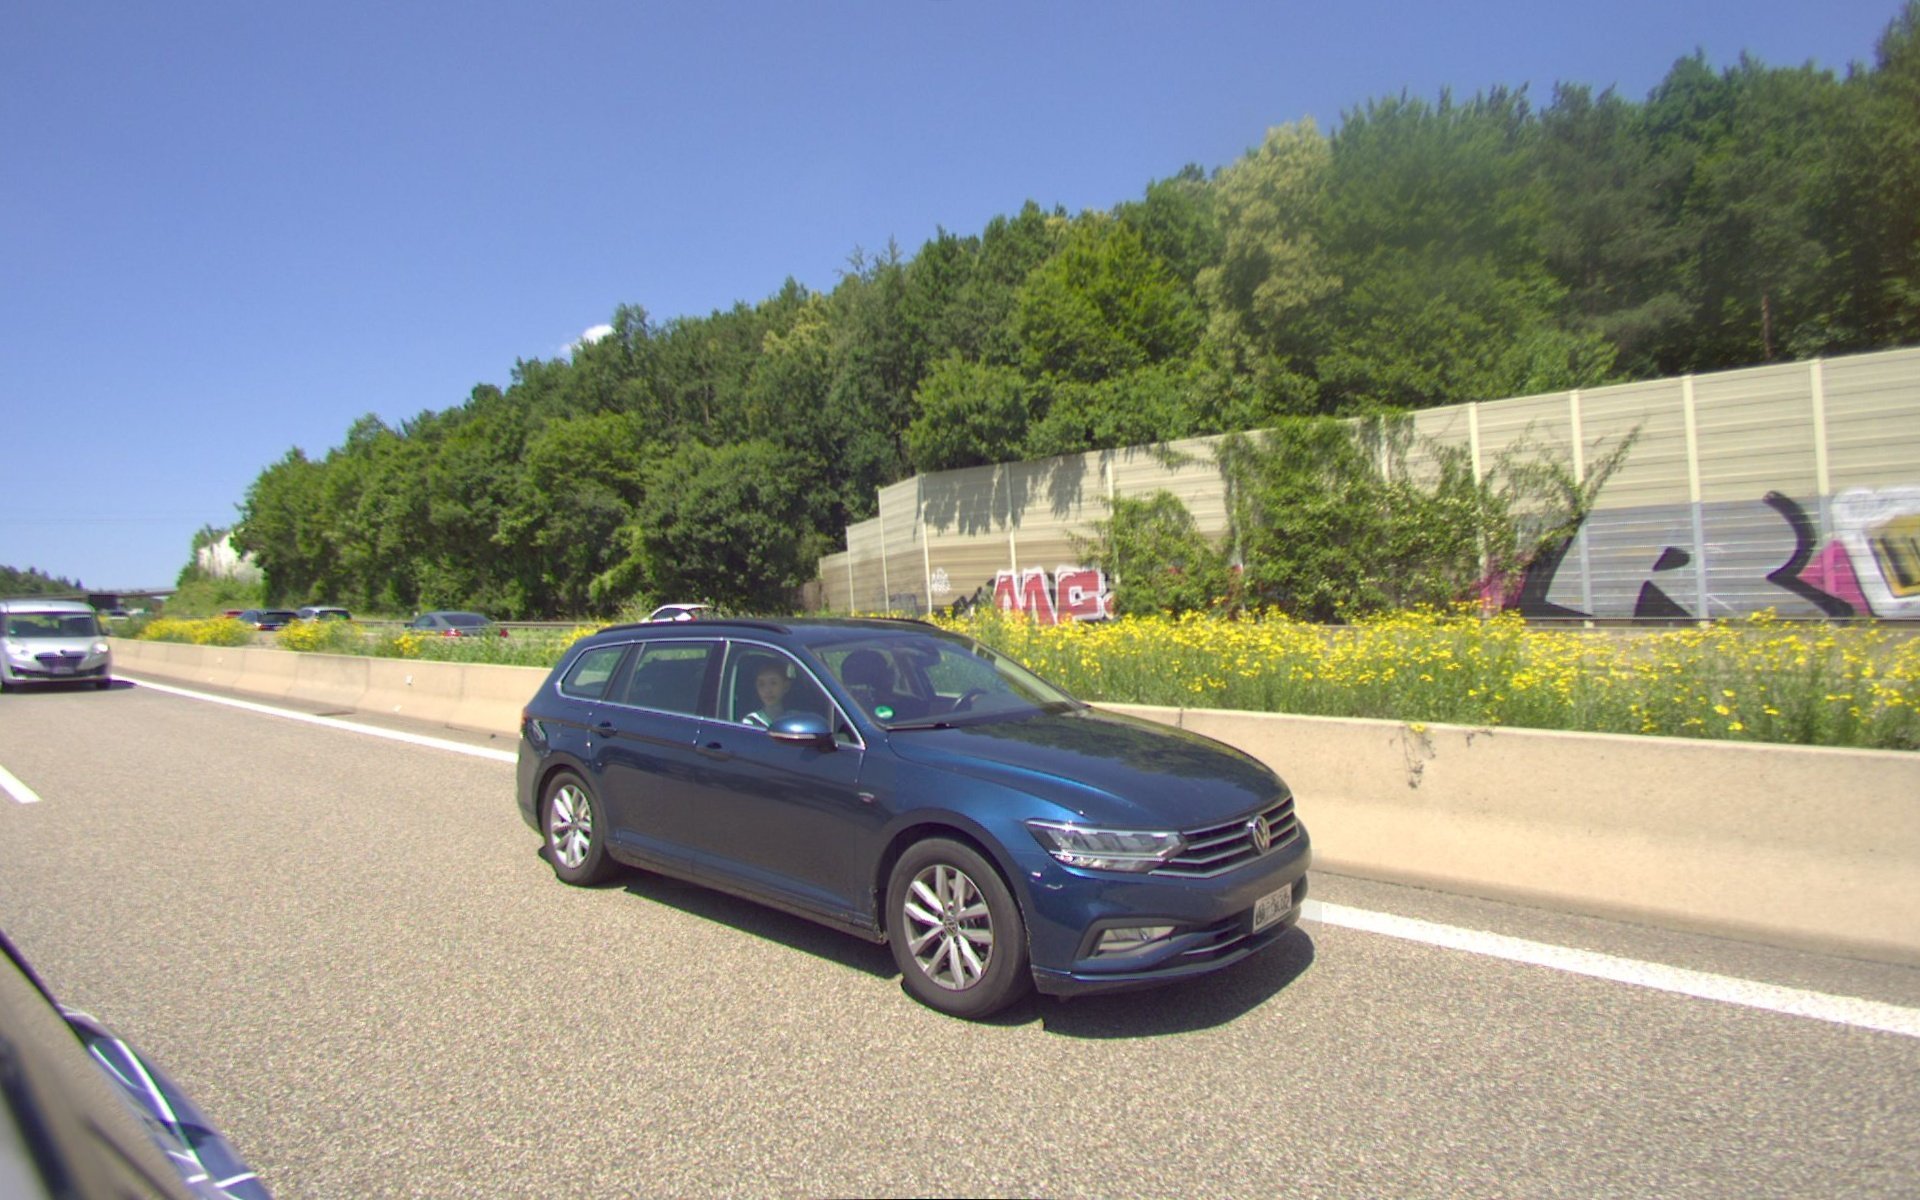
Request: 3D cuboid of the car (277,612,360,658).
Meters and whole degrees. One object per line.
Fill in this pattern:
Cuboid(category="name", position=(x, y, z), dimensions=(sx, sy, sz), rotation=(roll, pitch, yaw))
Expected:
Cuboid(category="car", position=(-28.376, 1.478, 44.729), dimensions=(4.504, 1.913, 1.972), rotation=(-1, 0, 42))

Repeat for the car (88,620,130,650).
Cuboid(category="car", position=(-53.456, 2.169, 63.528), dimensions=(3.884, 1.784, 1.516), rotation=(-1, -1, 42))

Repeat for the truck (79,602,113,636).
Cuboid(category="truck", position=(-91.220, 1.985, 106.799), dimensions=(6.025, 3.532, 1.972), rotation=(-1, -1, 42))

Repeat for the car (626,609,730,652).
Cuboid(category="car", position=(-10.339, 1.093, 36.923), dimensions=(4.311, 1.493, 1.612), rotation=(-1, -1, 42))

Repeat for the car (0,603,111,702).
Cuboid(category="car", position=(-19.071, 1.023, 20.945), dimensions=(3.999, 1.858, 1.757), rotation=(-1, -1, 42))

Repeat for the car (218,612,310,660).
Cuboid(category="car", position=(-25.519, 1.298, 37.050), dimensions=(4.688, 1.635, 1.705), rotation=(-1, -1, 42))

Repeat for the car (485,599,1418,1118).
Cuboid(category="car", position=(-0.471, 0.764, 5.048), dimensions=(4.728, 1.438, 1.714), rotation=(-1, -1, 42))

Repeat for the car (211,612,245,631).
Cuboid(category="car", position=(-65.464, 1.900, 90.509), dimensions=(3.999, 1.647, 1.709), rotation=(-1, 0, 42))

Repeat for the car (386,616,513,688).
Cuboid(category="car", position=(-13.042, 1.255, 25.765), dimensions=(3.710, 1.663, 1.625), rotation=(-1, 0, 41))
